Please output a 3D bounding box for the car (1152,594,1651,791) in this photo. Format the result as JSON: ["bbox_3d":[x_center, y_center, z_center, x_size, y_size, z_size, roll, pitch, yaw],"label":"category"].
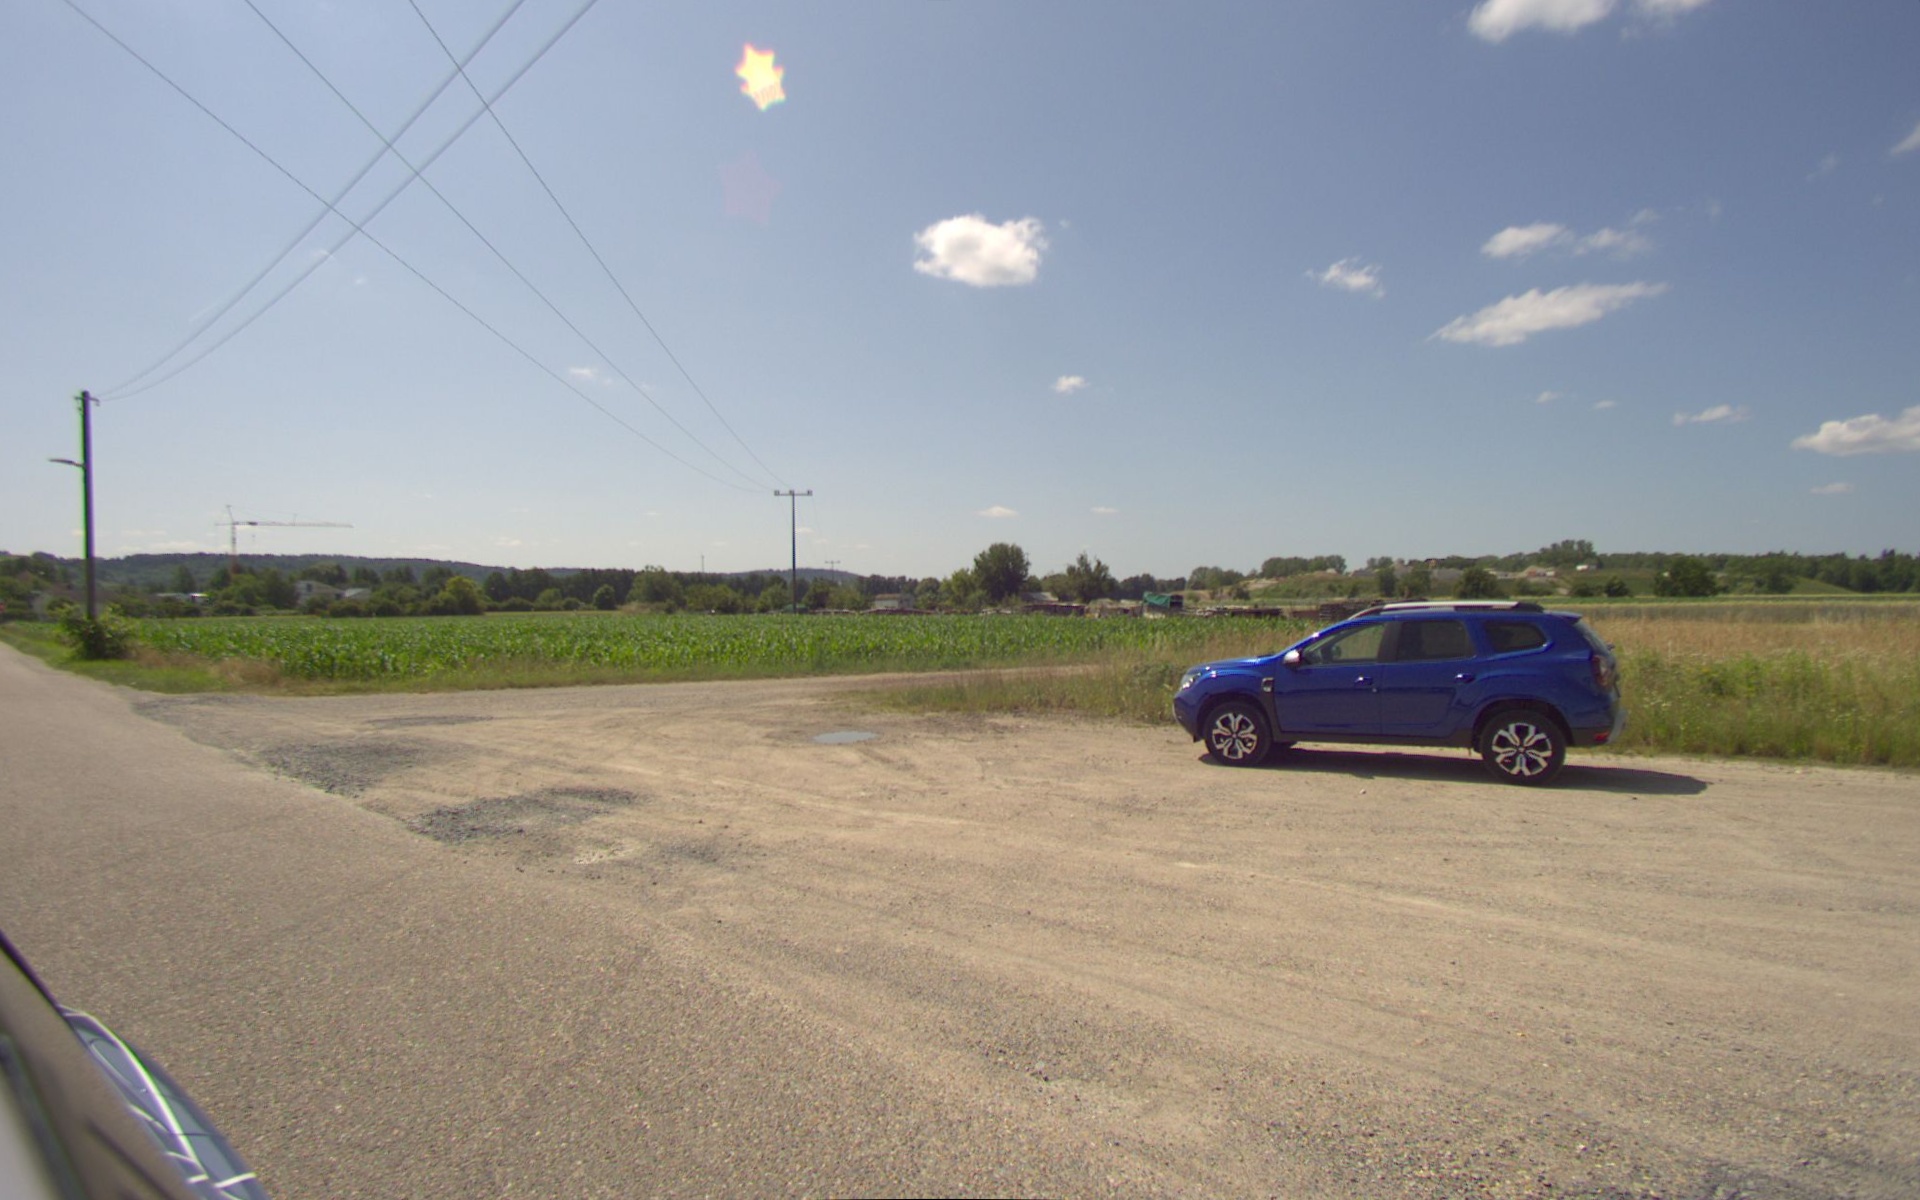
[{"bbox_3d":[4.456,0.859,10.580,4.444,1.673,1.844,-2,-2,33],"label":"car"}]
